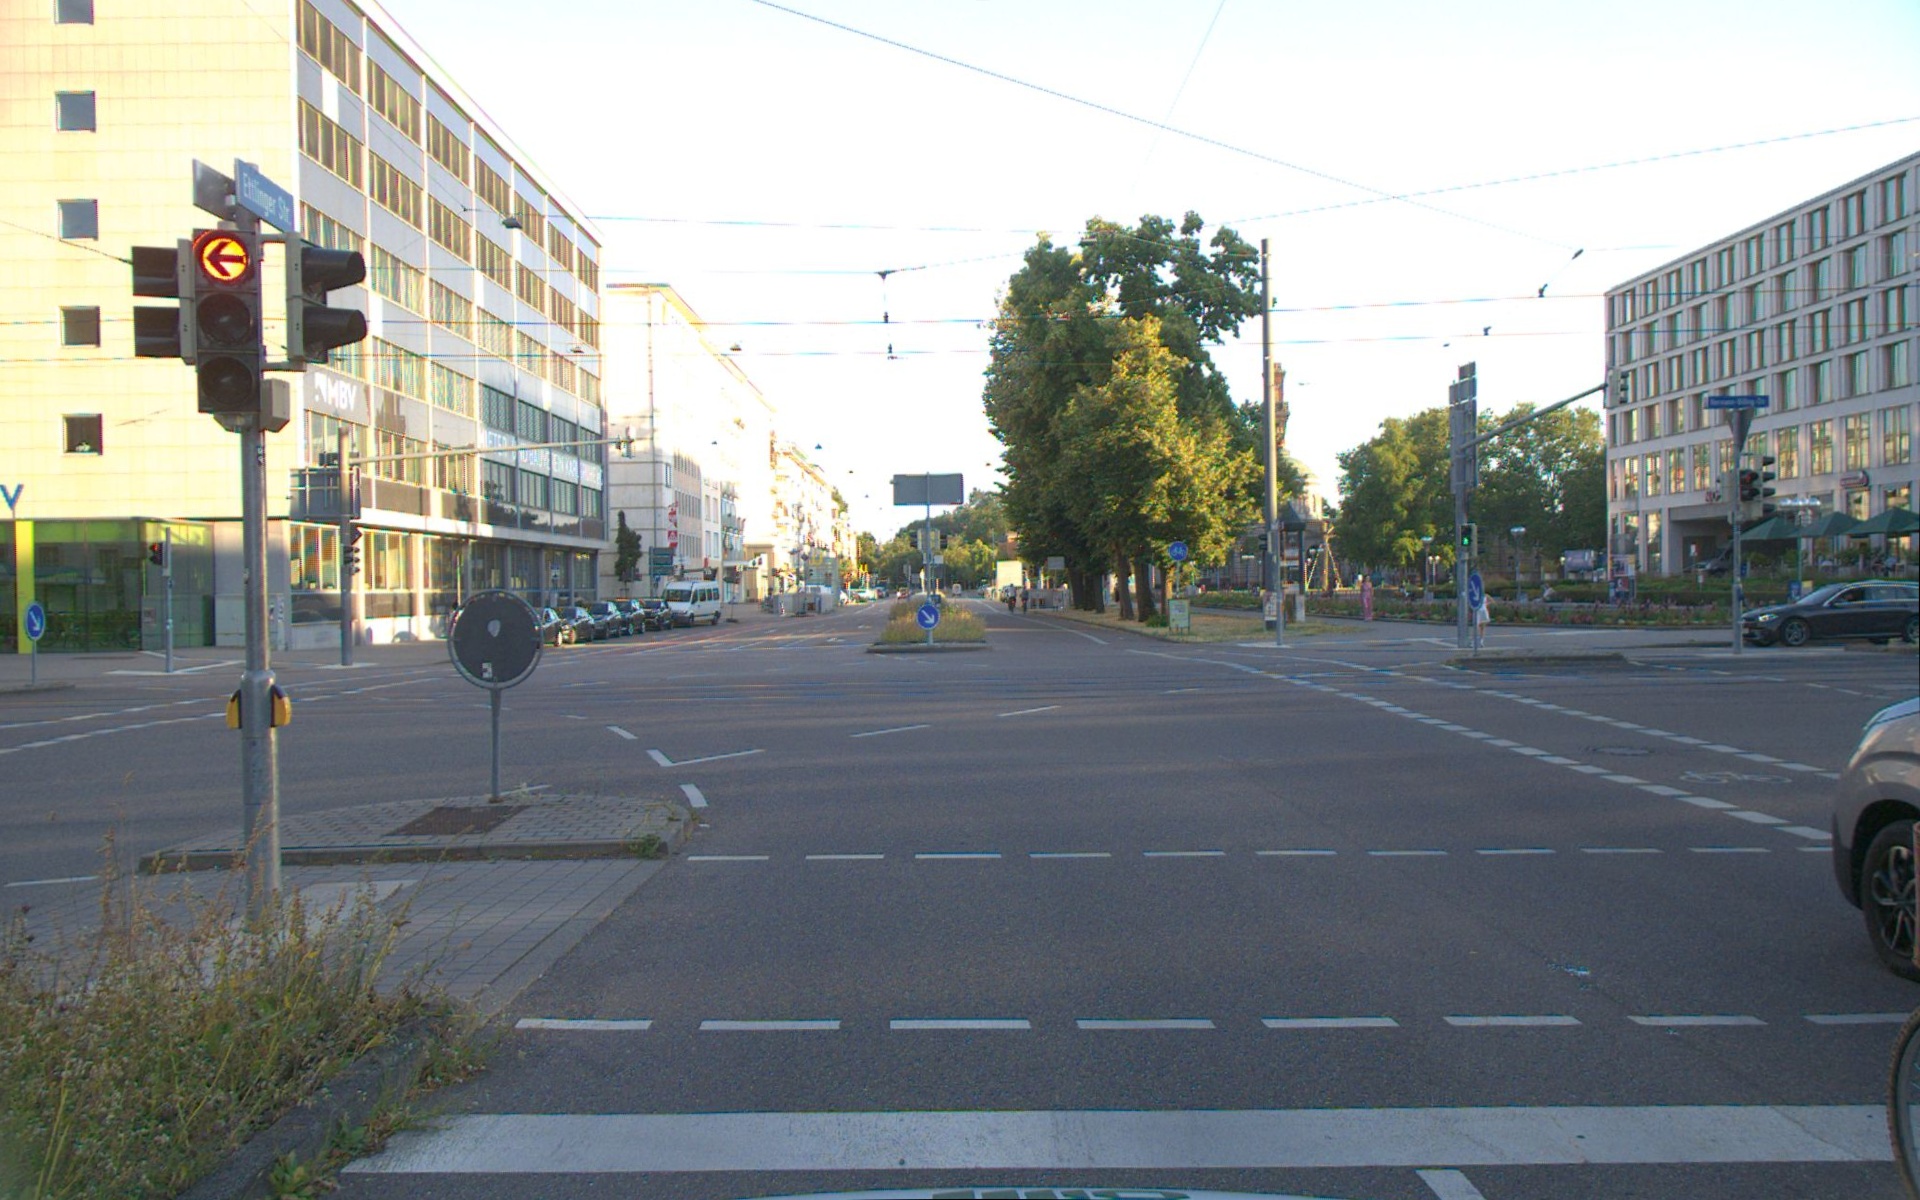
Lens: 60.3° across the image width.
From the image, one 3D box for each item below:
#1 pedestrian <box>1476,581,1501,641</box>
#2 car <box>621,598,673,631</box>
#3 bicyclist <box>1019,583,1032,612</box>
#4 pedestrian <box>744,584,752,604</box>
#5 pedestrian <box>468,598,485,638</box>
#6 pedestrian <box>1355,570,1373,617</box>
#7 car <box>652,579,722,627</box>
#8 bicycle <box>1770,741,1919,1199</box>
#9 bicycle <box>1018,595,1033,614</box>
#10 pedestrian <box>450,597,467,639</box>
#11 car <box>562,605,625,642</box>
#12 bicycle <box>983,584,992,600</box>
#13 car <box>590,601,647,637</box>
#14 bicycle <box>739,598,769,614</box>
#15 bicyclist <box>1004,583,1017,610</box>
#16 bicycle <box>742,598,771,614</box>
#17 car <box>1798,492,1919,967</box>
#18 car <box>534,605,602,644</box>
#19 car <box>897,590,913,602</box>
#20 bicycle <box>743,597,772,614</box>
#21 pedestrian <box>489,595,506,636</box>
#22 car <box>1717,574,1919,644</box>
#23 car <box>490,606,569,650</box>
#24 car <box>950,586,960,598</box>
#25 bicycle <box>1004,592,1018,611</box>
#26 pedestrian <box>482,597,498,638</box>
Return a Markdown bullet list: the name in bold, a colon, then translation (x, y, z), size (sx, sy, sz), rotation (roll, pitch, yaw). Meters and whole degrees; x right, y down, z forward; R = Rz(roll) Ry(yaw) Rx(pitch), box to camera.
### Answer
- **pedestrian**: translation (13.888, 0.292, 43.460), size (0.480, 1.566, 0.408), rotation (-1, 0, -1)
- **car**: translation (-15.958, 0.729, 84.521), size (1.882, 1.595, 3.999), rotation (-1, 0, -1)
- **bicyclist**: translation (4.052, -0.152, 102.424), size (0.731, 1.720, 0.799), rotation (-1, 0, -1)
- **pedestrian**: translation (-21.120, -0.592, 164.477), size (0.666, 2.049, 0.545), rotation (-1, 0, -1)
- **pedestrian**: translation (-20.630, 0.768, 70.520), size (0.540, 1.708, 0.500), rotation (-1, 0, -1)
- **pedestrian**: translation (14.638, -0.238, 59.952), size (0.451, 1.685, 0.566), rotation (-1, 0, -1)
- **car**: translation (-14.941, 0.141, 90.996), size (1.958, 2.521, 5.873), rotation (-1, 0, 9)
- **bicycle**: translation (2.191, 0.910, 2.832), size (0.599, 1.152, 2.004), rotation (1, 0, -1)
- **bicycle**: translation (4.064, 0.276, 102.474), size (0.731, 1.164, 2.505), rotation (-1, 0, -1)
- **pedestrian**: translation (-21.142, 0.756, 69.690), size (0.540, 1.708, 0.500), rotation (-1, 0, -1)
- **car**: translation (-16.136, 1.009, 72.985), size (1.882, 1.489, 3.999), rotation (-1, 0, -1)
- **bicycle**: translation (3.442, -0.988, 208.732), size (0.982, 2.049, 3.999), rotation (-1, 0, -2)
- **car**: translation (-16.132, 0.878, 78.289), size (1.882, 1.595, 3.999), rotation (-1, 0, -1)
- **bicycle**: translation (-15.584, 0.462, 125.248), size (2.161, 1.131, 0.618), rotation (-1, 0, -3)
- **bicyclist**: translation (3.150, -0.218, 102.363), size (0.731, 1.692, 0.873), rotation (-1, 0, -1)
- **bicycle**: translation (-15.577, 0.455, 126.777), size (2.161, 1.131, 0.689), rotation (-1, 0, -2)
- **car**: translation (4.741, 0.535, 5.419), size (1.727, 1.921, 4.500), rotation (0, 0, 0)
- **car**: translation (-16.116, 0.989, 68.171), size (1.882, 1.489, 3.999), rotation (-1, 0, -1)
- **car**: translation (-7.041, -0.538, 211.531), size (1.825, 1.546, 4.000), rotation (-1, 0, 0)
- **bicycle**: translation (-15.766, 0.418, 128.630), size (2.161, 1.258, 0.839), rotation (-1, 0, -2)
- **pedestrian**: translation (-19.557, 0.636, 69.948), size (0.540, 1.708, 0.500), rotation (-1, 0, -1)
- **car**: translation (21.098, 0.199, 39.932), size (4.724, 1.542, 2.000), rotation (-1, 0, 1)
- **car**: translation (-16.008, 1.029, 61.676), size (1.882, 1.489, 4.102), rotation (-1, 0, -1)
- **car**: translation (-0.709, -1.116, 238.616), size (1.379, 1.670, 3.998), rotation (-1, 0, -2)
- **bicycle**: translation (3.161, 0.082, 102.687), size (0.731, 1.164, 2.505), rotation (-1, 0, -1)
- **pedestrian**: translation (-20.057, 0.753, 70.548), size (0.490, 1.708, 0.500), rotation (-1, 0, -1)
